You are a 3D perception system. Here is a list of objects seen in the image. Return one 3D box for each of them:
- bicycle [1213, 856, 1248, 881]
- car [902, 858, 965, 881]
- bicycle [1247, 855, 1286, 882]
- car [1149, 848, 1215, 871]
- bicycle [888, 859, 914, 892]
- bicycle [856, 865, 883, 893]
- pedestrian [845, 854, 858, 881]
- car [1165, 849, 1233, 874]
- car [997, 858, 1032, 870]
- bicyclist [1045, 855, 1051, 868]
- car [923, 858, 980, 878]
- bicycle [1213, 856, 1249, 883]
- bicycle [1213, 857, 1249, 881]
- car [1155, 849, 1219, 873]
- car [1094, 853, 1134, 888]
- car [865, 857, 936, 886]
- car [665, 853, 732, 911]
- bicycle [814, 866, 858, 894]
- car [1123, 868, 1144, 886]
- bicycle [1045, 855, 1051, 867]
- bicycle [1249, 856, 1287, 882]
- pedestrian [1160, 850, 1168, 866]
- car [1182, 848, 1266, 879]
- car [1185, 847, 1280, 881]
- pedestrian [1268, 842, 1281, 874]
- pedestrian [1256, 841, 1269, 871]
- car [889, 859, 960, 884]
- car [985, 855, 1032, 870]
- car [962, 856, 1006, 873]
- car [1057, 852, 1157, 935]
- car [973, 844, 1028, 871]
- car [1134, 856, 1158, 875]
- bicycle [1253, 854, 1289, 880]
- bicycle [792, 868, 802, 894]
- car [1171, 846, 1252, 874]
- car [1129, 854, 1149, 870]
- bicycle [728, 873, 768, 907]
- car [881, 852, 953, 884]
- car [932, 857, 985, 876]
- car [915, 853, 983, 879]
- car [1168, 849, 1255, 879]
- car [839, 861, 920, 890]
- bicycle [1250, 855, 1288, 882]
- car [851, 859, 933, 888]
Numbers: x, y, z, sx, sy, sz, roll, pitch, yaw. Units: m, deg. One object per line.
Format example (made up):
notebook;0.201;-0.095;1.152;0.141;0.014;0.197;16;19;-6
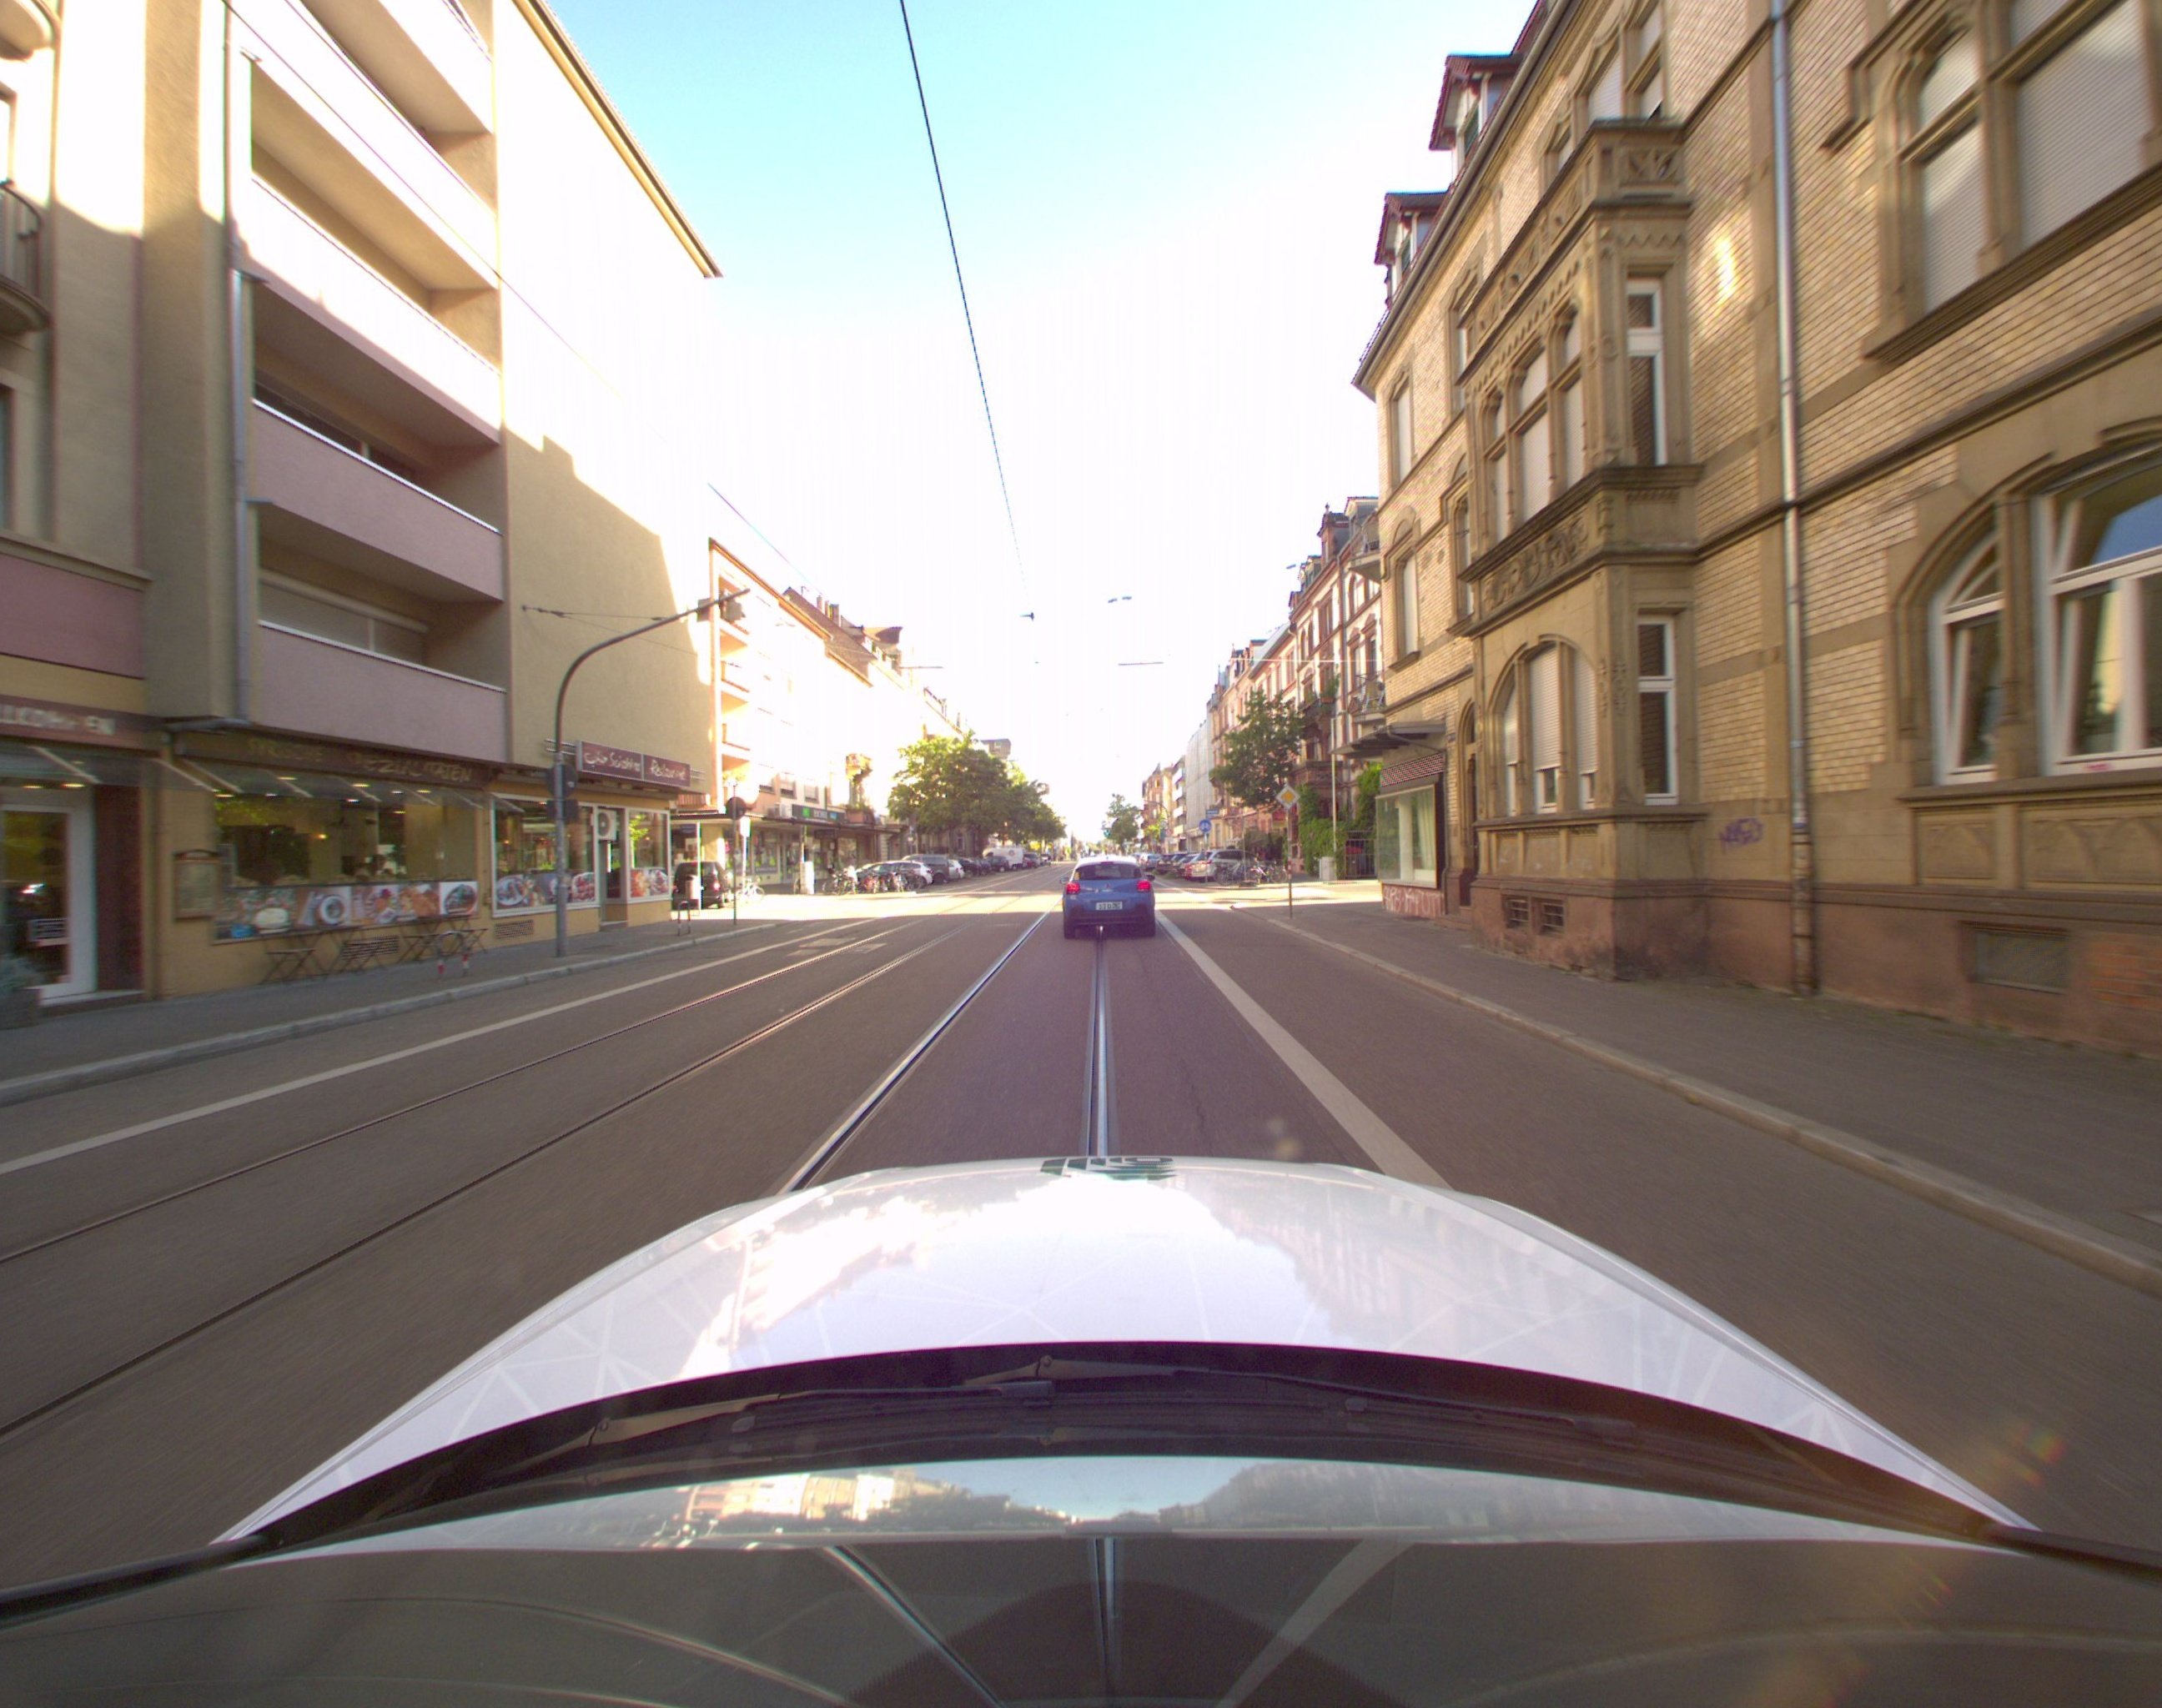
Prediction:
bicycle;6.845;0.645;37.260;1.551;1.127;0.295;-1;-1;7
car;-9.817;1.022;54.167;3.850;1.430;1.751;-1;-1;-25
bicycle;8.191;0.637;36.011;1.665;1.127;0.552;-1;-1;7
car;7.336;0.373;59.226;4.322;1.596;1.967;-1;-1;-23
bicycle;-8.112;0.958;36.744;0.680;1.319;2.434;-1;2;-2
bicycle;-9.438;1.097;36.286;0.686;1.123;1.870;-2;2;-29
pedestrian;-14.223;0.825;50.532;0.567;1.652;0.641;-1;-1;1
car;7.775;0.486;53.625;4.004;1.596;1.944;-1;-1;-23
car;-7.696;1.141;94.237;3.815;1.265;1.504;-1;-1;-25
bicyclist;-4.416;1.047;109.049;0.632;1.681;0.727;-1;-1;1
car;-10.167;1.070;64.010;4.013;1.489;1.788;-1;-1;-31
bicycle;6.479;0.663;35.228;1.397;1.127;0.549;-1;-1;-10
bicycle;6.799;0.670;36.935;1.547;1.079;0.308;-1;-1;7
car;7.405;0.514;56.949;4.004;1.596;2.071;-1;-1;-23
car;1.620;0.793;40.283;1.866;1.596;4.002;-1;0;2
car;-9.999;0.932;45.113;3.479;1.473;1.634;-2;0;-28
car;-14.945;1.014;32.038;1.849;1.817;4.330;-4;4;-19
bicycle;-10.773;1.129;35.793;2.405;1.109;0.688;1;2;41
car;4.927;2.115;76.653;1.866;1.596;4.002;-1;0;2
bicycle;-4.429;0.922;109.043;0.678;1.678;2.097;-1;-1;2
bicycle;8.111;0.649;35.429;1.547;1.127;0.529;-1;-1;7
pedestrian;8.131;0.391;79.741;0.709;1.607;0.654;-1;-1;0
car;7.562;0.506;43.022;4.004;1.536;1.903;-1;-1;-23
car;7.559;0.487;40.568;4.371;1.596;1.839;-1;-1;-24
pedestrian;10.852;0.210;45.775;0.516;1.778;0.864;-1;-1;1
pedestrian;10.169;0.123;45.647;0.516;1.648;0.864;-1;-1;1
car;-9.737;1.085;50.661;4.032;1.449;1.682;-1;-1;-31
car;-7.810;0.912;88.240;4.787;1.618;1.695;-1;-1;-31
car;-9.338;0.995;78.505;3.994;1.489;1.797;-1;-1;-15
car;0.499;0.703;16.152;1.756;1.441;3.557;-1;0;1
car;-8.349;0.348;84.303;5.402;2.749;1.789;-1;-1;-29
car;5.678;1.016;71.192;1.866;1.596;4.721;-1;0;2
bicycle;8.647;0.588;37.122;1.547;1.127;0.552;-1;-1;7
bicycle;-12.628;1.173;36.219;0.404;1.109;1.825;-1;-1;-20
car;7.796;0.329;48.688;4.337;1.596;2.029;-1;-1;-23
car;5.816;0.832;82.642;1.866;1.596;4.002;-1;0;2
bicycle;-12.754;1.345;31.257;0.680;1.109;2.432;-1;2;-5
car;-9.680;0.782;47.969;3.831;1.785;1.781;-1;-1;-27
car;-10.099;0.992;67.076;4.008;1.489;1.790;-1;-1;-27
car;-9.452;0.860;58.199;4.381;1.783;1.976;-1;-1;-31
car;7.356;0.562;46.021;4.454;1.596;2.072;-1;-1;-23
car;-9.727;1.013;39.303;3.484;1.337;1.608;-1;-1;-33
bicycle;8.036;0.613;34.847;1.547;1.127;0.552;-1;-1;7
car;-9.760;0.965;42.162;3.805;1.400;1.737;-1;-1;-32
